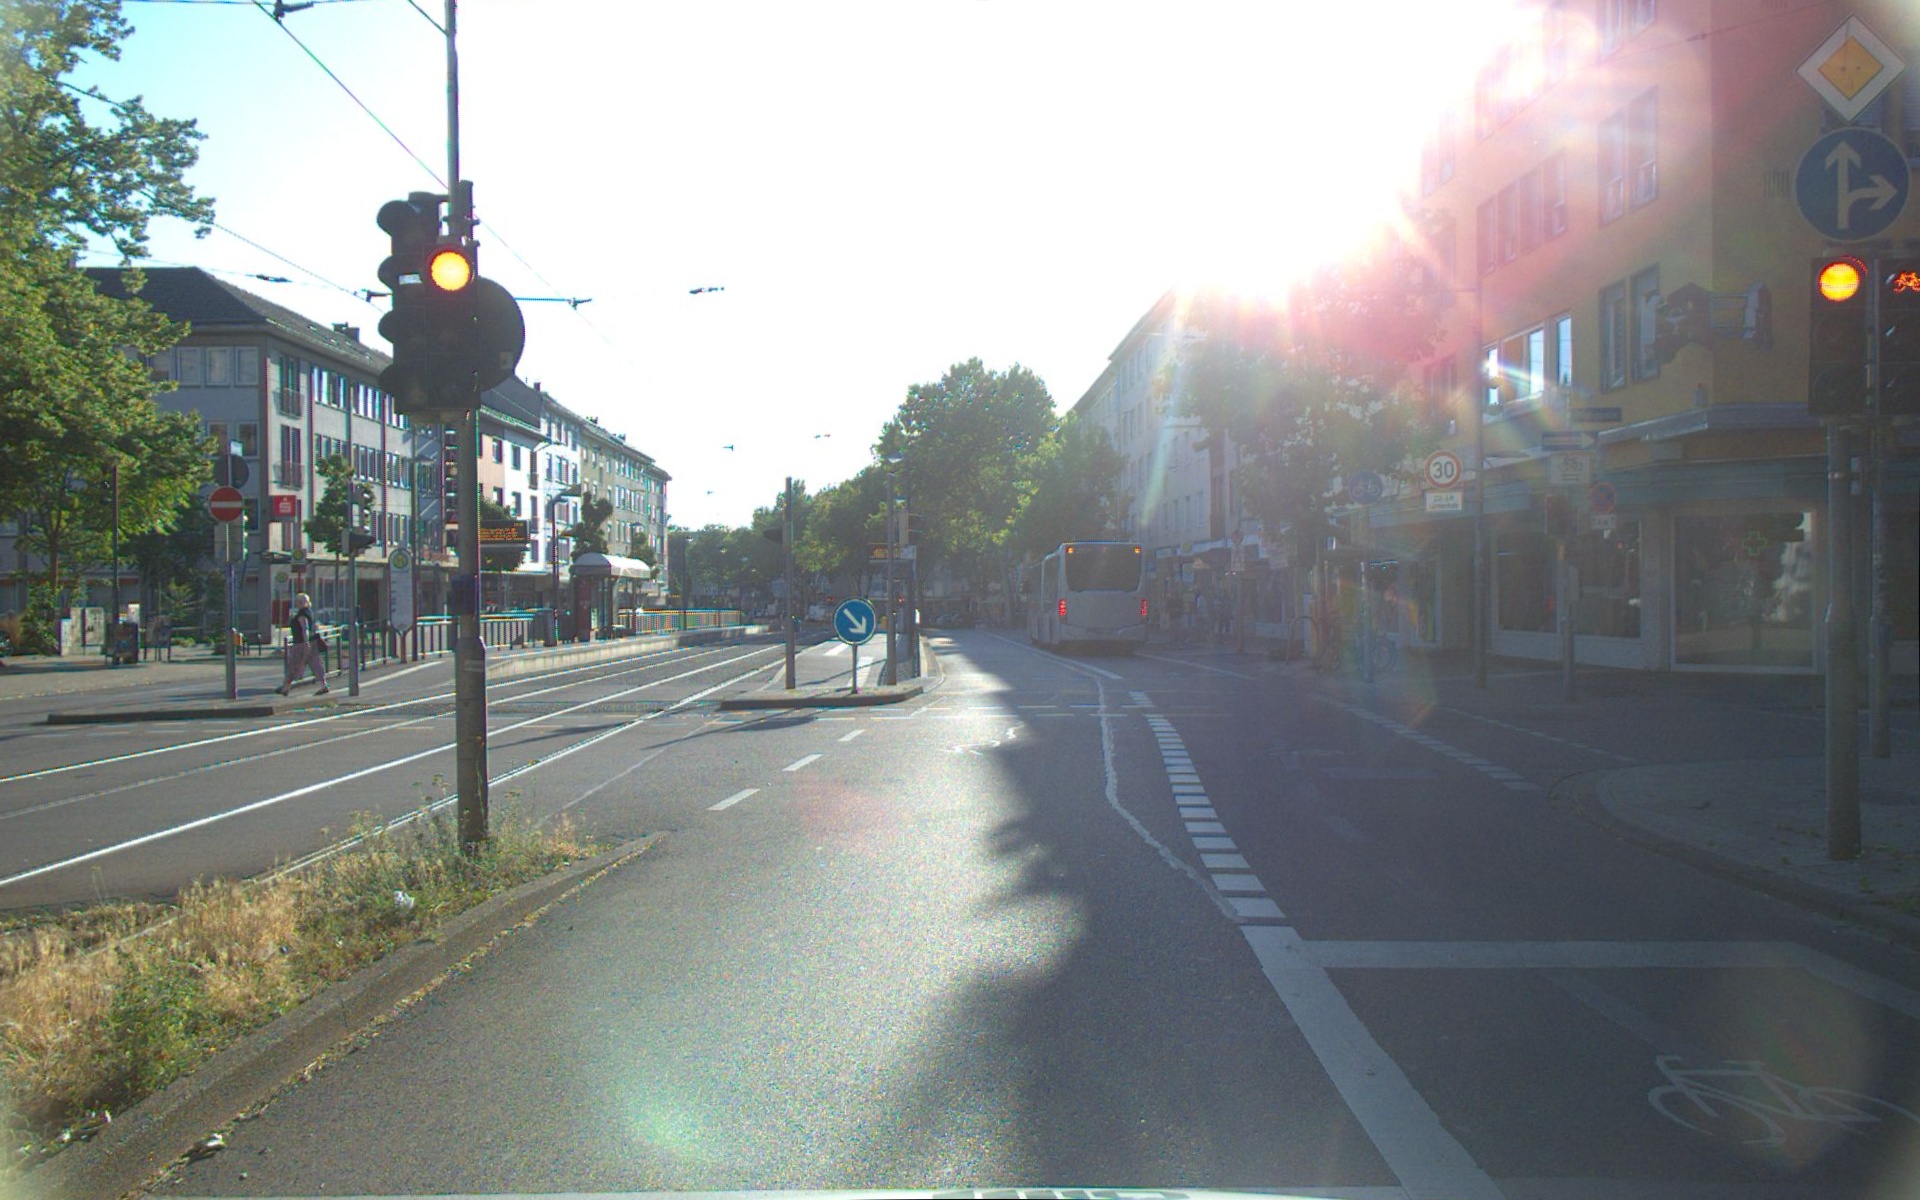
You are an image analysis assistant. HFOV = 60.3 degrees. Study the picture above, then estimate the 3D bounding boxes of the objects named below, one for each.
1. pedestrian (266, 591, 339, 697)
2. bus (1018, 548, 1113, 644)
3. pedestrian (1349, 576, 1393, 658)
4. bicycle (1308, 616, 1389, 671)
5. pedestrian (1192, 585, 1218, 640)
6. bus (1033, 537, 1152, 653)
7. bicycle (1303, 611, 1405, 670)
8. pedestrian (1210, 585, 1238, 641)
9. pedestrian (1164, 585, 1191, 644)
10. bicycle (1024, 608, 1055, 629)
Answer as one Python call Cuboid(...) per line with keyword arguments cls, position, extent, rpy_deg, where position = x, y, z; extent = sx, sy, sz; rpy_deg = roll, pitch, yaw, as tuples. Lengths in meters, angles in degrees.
Cuboid(cls="pedestrian", position=(-11.438, 0.754, 28.792), extent=(0.900, 1.791, 0.832), rpy_deg=(-1, -1, 0))
Cuboid(cls="bus", position=(3.661, -0.106, 59.291), extent=(2.642, 3.173, 9.067), rpy_deg=(0, 0, -1))
Cuboid(cls="pedestrian", position=(9.306, 0.368, 37.471), extent=(0.728, 1.810, 0.895), rpy_deg=(-2, 1, 0))
Cuboid(cls="bicycle", position=(7.511, 0.845, 32.014), extent=(1.453, 1.026, 0.454), rpy_deg=(-1, 0, -5))
Cuboid(cls="pedestrian", position=(8.120, 0.421, 54.835), extent=(0.709, 1.810, 0.766), rpy_deg=(-1, -1, -2))
Cuboid(cls="bus", position=(3.850, -0.129, 50.133), extent=(2.642, 3.173, 9.379), rpy_deg=(0, 0, -1))
Cuboid(cls="bicycle", position=(7.454, 0.764, 31.337), extent=(1.763, 1.026, 0.540), rpy_deg=(-3, 0, -5))
Cuboid(cls="pedestrian", position=(8.353, 0.406, 52.336), extent=(0.709, 1.753, 0.766), rpy_deg=(-1, -1, -2))
Cuboid(cls="pedestrian", position=(6.855, 0.463, 52.178), extent=(0.709, 1.838, 0.766), rpy_deg=(-1, -1, -2))
Cuboid(cls="bicycle", position=(4.854, 1.125, 101.017), extent=(1.848, 1.096, 0.754), rpy_deg=(-5, 0, 1))
